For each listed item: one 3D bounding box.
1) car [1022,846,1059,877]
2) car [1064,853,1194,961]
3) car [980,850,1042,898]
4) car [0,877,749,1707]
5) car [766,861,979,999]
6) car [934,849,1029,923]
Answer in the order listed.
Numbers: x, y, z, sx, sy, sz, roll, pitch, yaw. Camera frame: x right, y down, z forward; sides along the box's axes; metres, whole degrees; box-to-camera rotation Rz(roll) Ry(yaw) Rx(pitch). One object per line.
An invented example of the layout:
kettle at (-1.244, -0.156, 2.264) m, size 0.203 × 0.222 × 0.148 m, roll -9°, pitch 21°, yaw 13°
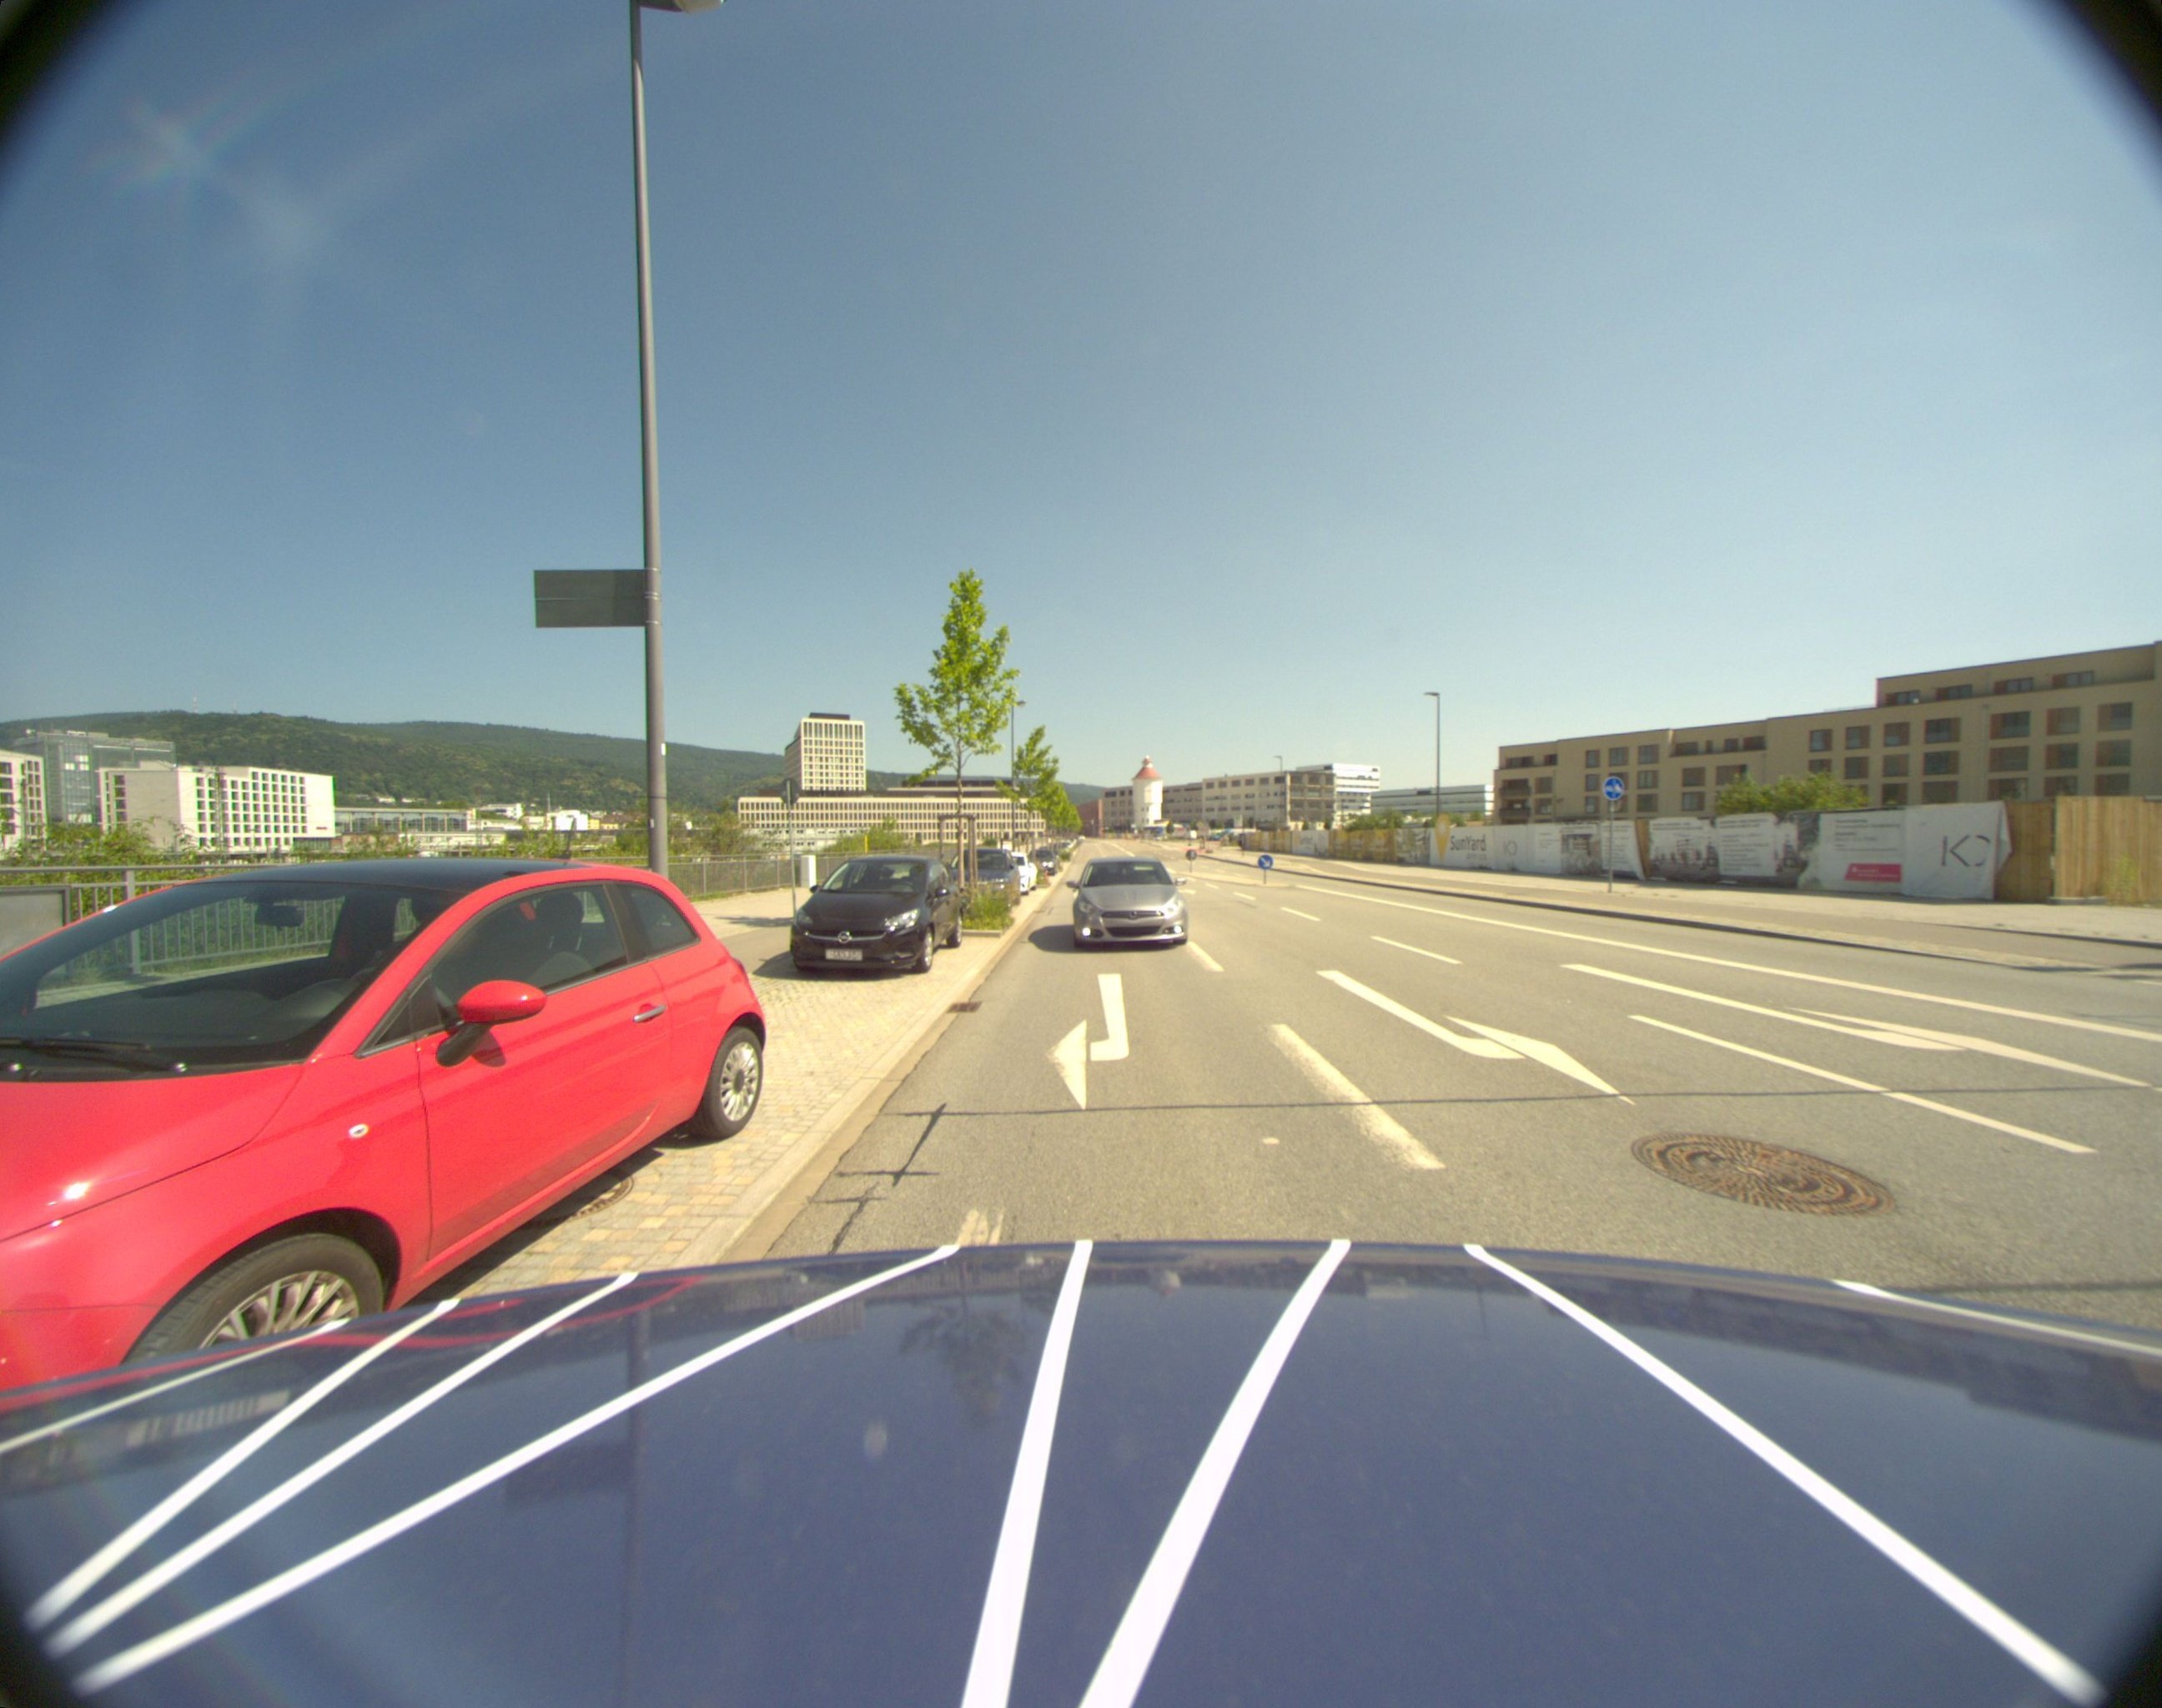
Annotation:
car at (-2.212, 0.383, 42.526) m, size 1.664 × 1.530 × 3.999 m, roll -2°, pitch 1°, yaw 2°
car at (0.742, 0.755, 12.879) m, size 1.784 × 1.372 × 4.135 m, roll -2°, pitch 1°, yaw 2°
car at (-2.416, 0.662, 27.173) m, size 1.664 × 1.447 × 3.999 m, roll -2°, pitch 1°, yaw 2°
car at (-2.751, 0.903, 2.611) m, size 1.614 × 1.488 × 3.352 m, roll 1°, pitch 1°, yaw 3°
car at (-2.666, 0.882, 10.705) m, size 1.664 × 1.418 × 4.000 m, roll 1°, pitch 1°, yaw 4°
car at (-2.476, 0.737, 19.956) m, size 1.769 × 1.598 × 4.237 m, roll -2°, pitch 1°, yaw 2°
